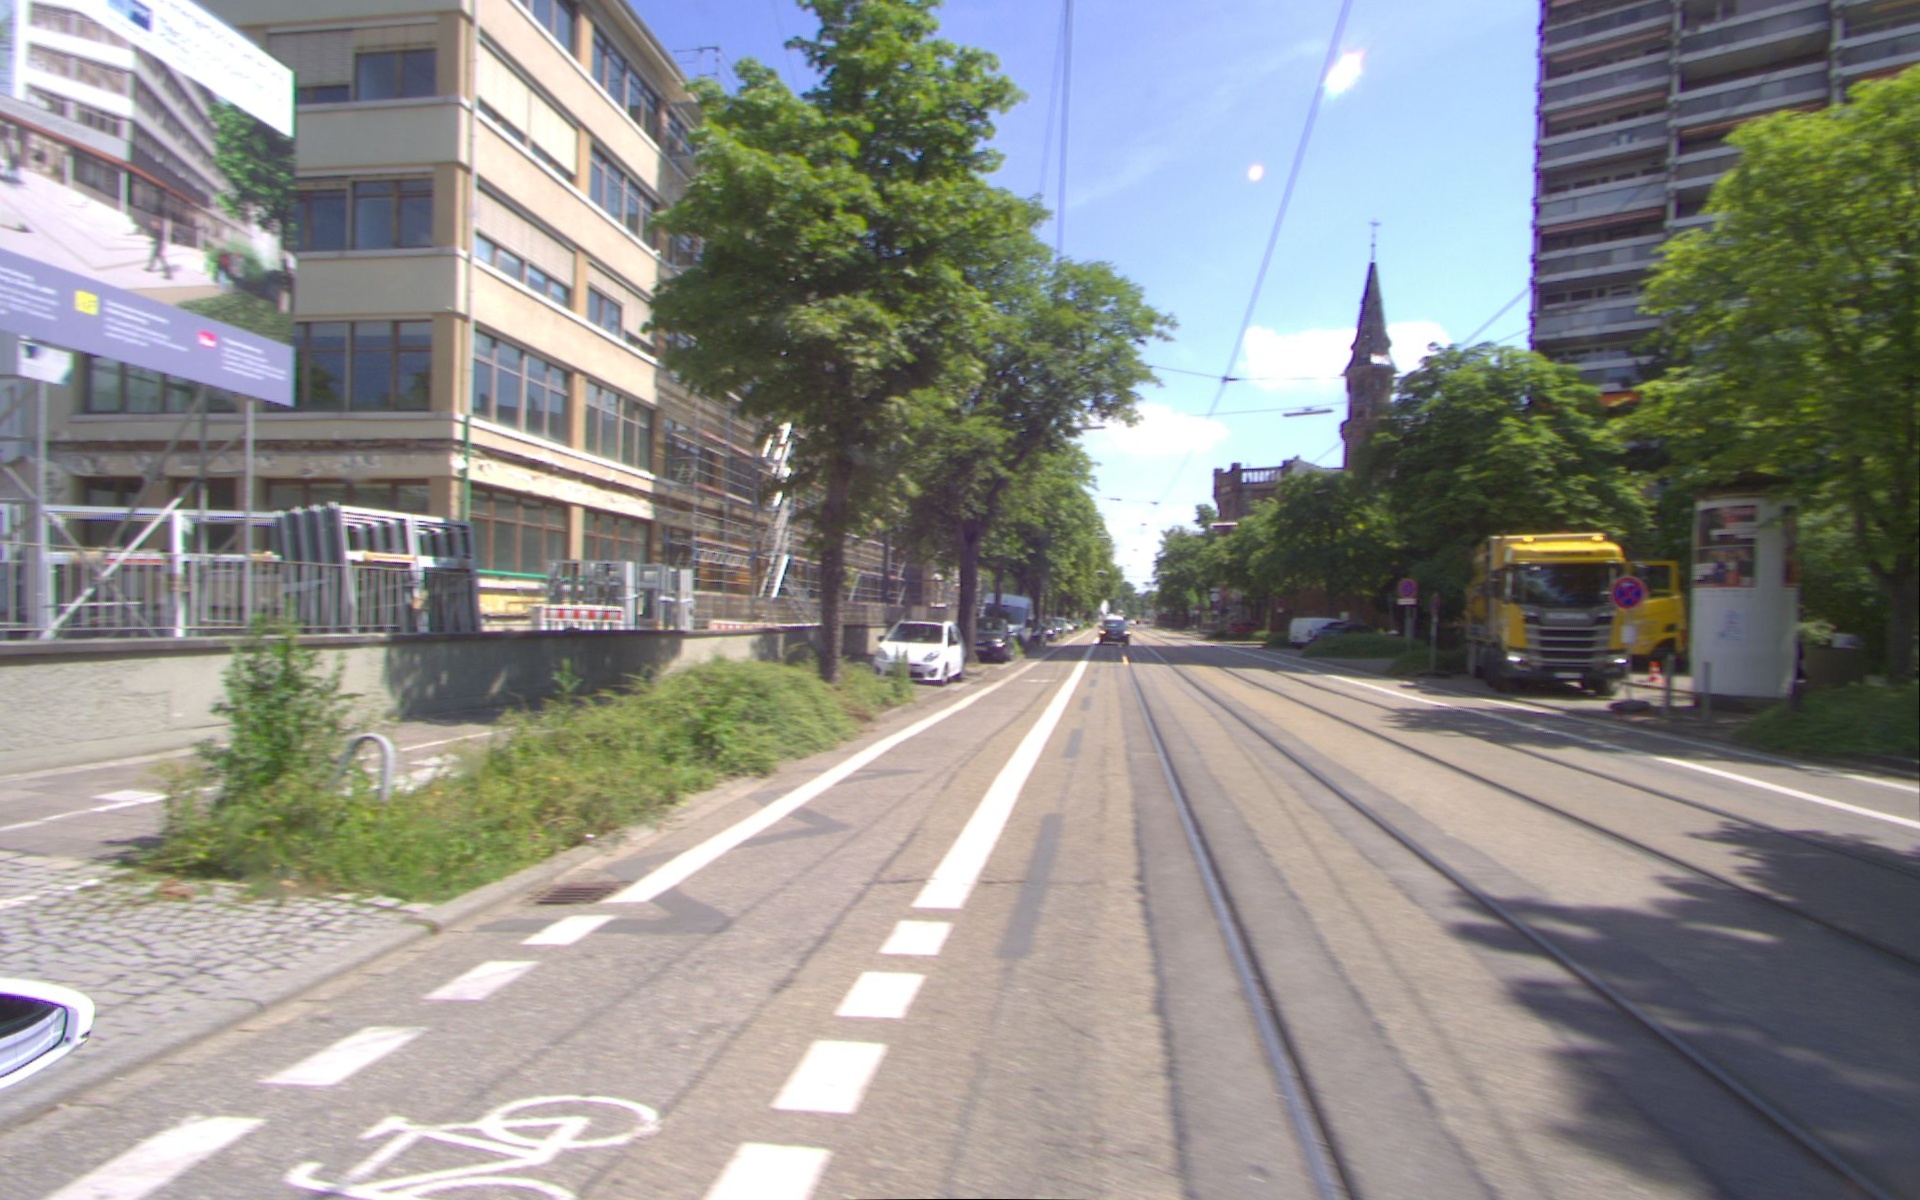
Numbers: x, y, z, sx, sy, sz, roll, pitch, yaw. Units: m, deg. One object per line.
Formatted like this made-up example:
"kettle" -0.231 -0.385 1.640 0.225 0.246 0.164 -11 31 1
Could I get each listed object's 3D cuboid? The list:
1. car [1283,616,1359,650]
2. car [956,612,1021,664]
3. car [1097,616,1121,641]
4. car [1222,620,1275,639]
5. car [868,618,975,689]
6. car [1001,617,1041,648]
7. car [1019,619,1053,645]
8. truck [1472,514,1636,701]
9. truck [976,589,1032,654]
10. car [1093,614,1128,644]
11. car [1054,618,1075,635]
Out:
"car" 20.389 1.866 56.555 3.943 1.817 1.826 2 0 -29
"car" 1.071 1.291 35.329 1.961 1.628 4.000 3 -1 5
"car" 13.060 2.473 87.808 1.962 2.040 3.999 2 -1 10
"car" 25.506 2.603 88.595 3.927 1.505 1.998 2 0 -13
"car" -0.802 1.194 23.264 1.592 1.458 3.581 2 -1 12
"car" 3.221 1.687 52.556 1.961 1.475 4.000 2 -1 4
"car" 4.799 1.987 62.735 1.961 1.505 4.000 2 -1 5
"truck" 15.461 0.288 26.753 2.705 4.058 9.717 1 -1 25
"truck" 1.974 0.902 42.723 1.987 2.518 5.872 2 -1 6
"car" 8.807 1.660 58.320 1.962 1.711 3.999 0 -1 10
"car" 9.965 2.503 95.232 1.792 1.594 3.999 2 -1 8
